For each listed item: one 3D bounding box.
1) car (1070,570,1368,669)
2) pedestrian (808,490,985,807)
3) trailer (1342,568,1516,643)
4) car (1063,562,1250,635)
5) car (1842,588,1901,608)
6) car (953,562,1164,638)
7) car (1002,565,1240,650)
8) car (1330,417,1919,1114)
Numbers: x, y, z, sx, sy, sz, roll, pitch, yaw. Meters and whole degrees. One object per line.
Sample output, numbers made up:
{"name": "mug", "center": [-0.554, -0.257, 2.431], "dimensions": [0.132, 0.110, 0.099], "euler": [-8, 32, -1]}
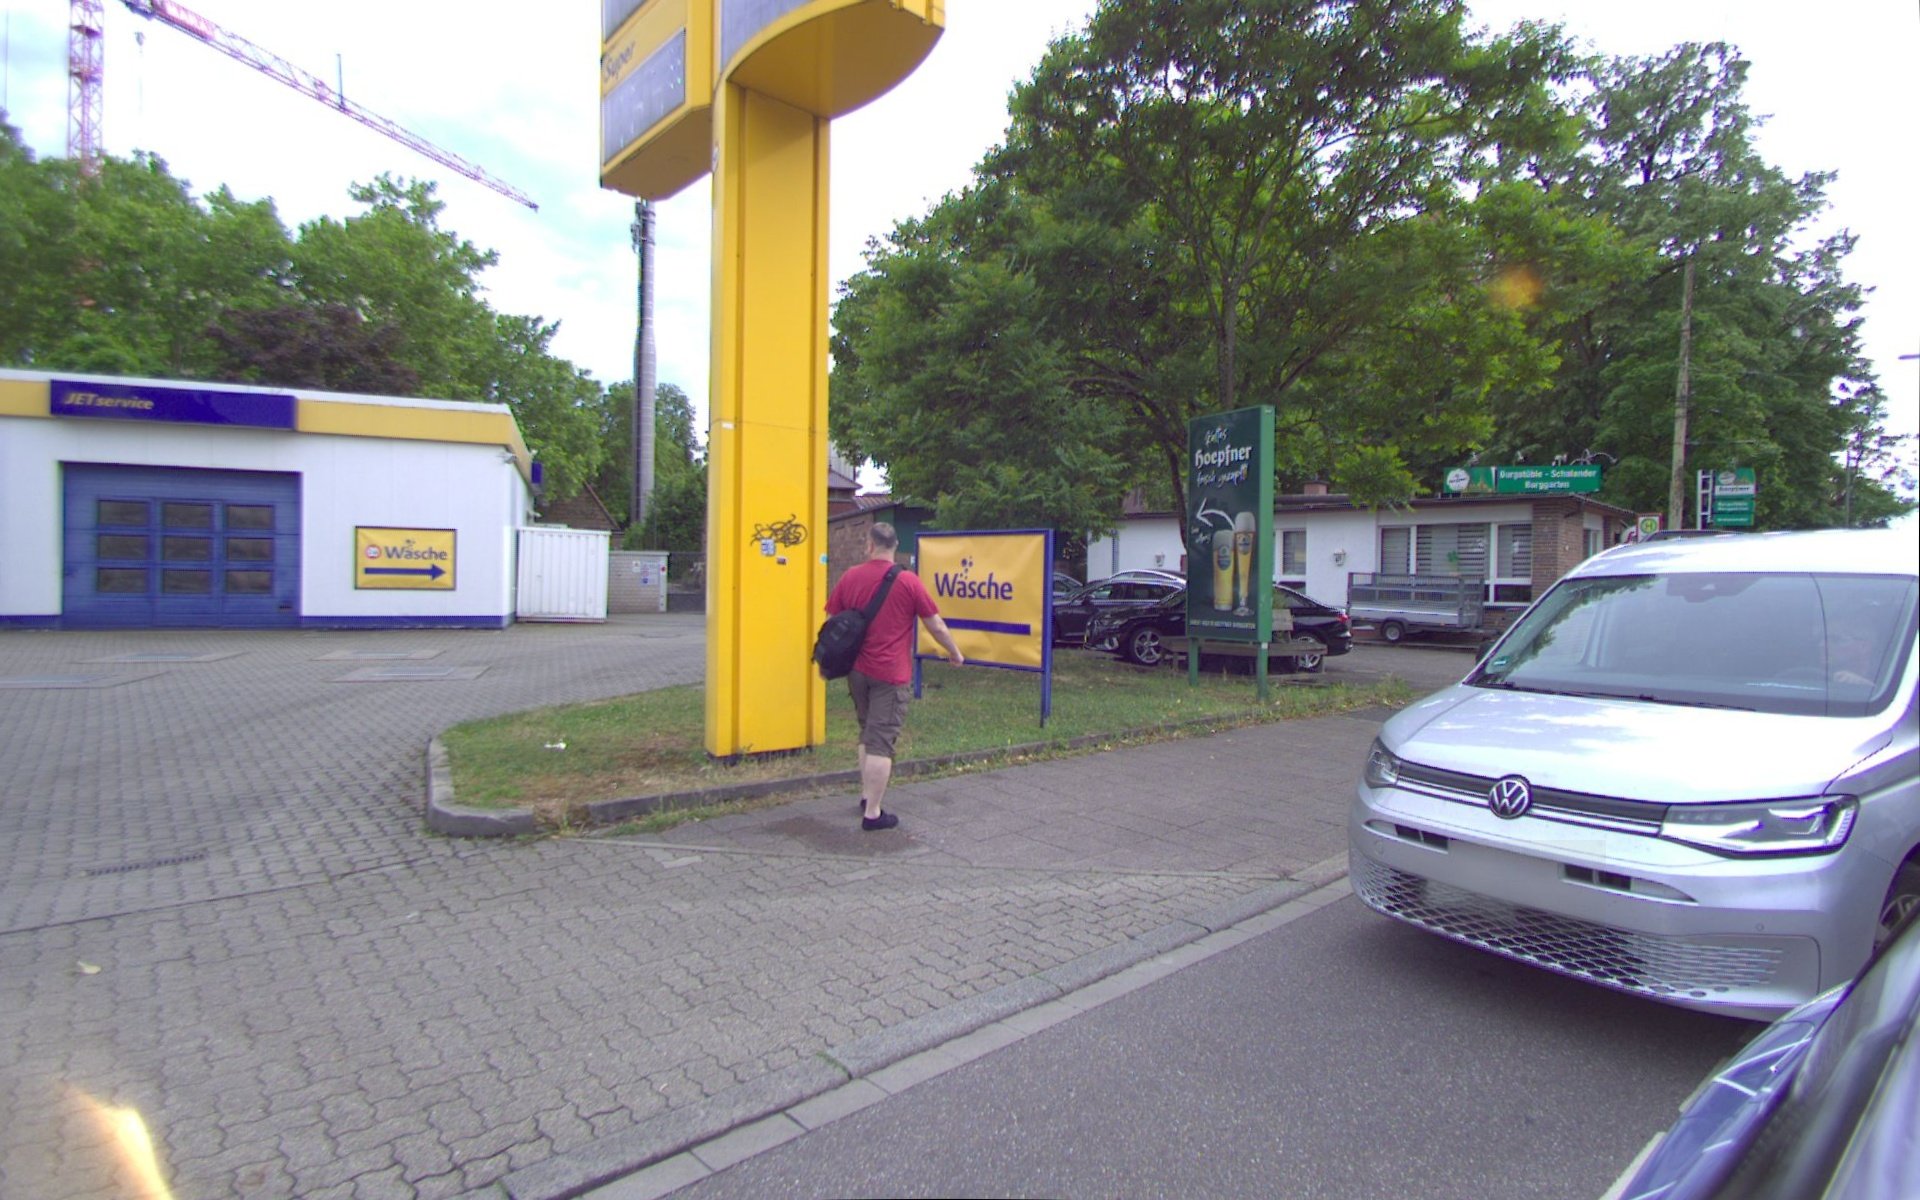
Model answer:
{"name": "car", "center": [4.254, 0.288, 17.171], "dimensions": [4.497, 1.425, 1.936], "euler": [2, 1, 0]}
{"name": "pedestrian", "center": [-0.350, 0.252, 6.119], "dimensions": [0.957, 1.759, 0.861], "euler": [2, 2, 2]}
{"name": "trailer", "center": [10.436, 0.068, 22.623], "dimensions": [1.594, 1.558, 3.165], "euler": [-1, 2, -43]}
{"name": "car", "center": [4.847, -0.090, 25.529], "dimensions": [1.955, 1.667, 4.434], "euler": [0, 1, -39]}
{"name": "car", "center": [92.599, -0.207, 102.853], "dimensions": [1.961, 1.637, 4.005], "euler": [1, 4, -33]}
{"name": "car", "center": [2.162, -0.022, 23.074], "dimensions": [4.401, 1.477, 1.988], "euler": [2, 1, -6]}
{"name": "car", "center": [3.190, 0.121, 20.679], "dimensions": [4.453, 1.444, 1.880], "euler": [2, 3, -2]}
{"name": "car", "center": [4.094, 0.426, 4.725], "dimensions": [4.840, 1.830, 1.853], "euler": [1, 1, -32]}
